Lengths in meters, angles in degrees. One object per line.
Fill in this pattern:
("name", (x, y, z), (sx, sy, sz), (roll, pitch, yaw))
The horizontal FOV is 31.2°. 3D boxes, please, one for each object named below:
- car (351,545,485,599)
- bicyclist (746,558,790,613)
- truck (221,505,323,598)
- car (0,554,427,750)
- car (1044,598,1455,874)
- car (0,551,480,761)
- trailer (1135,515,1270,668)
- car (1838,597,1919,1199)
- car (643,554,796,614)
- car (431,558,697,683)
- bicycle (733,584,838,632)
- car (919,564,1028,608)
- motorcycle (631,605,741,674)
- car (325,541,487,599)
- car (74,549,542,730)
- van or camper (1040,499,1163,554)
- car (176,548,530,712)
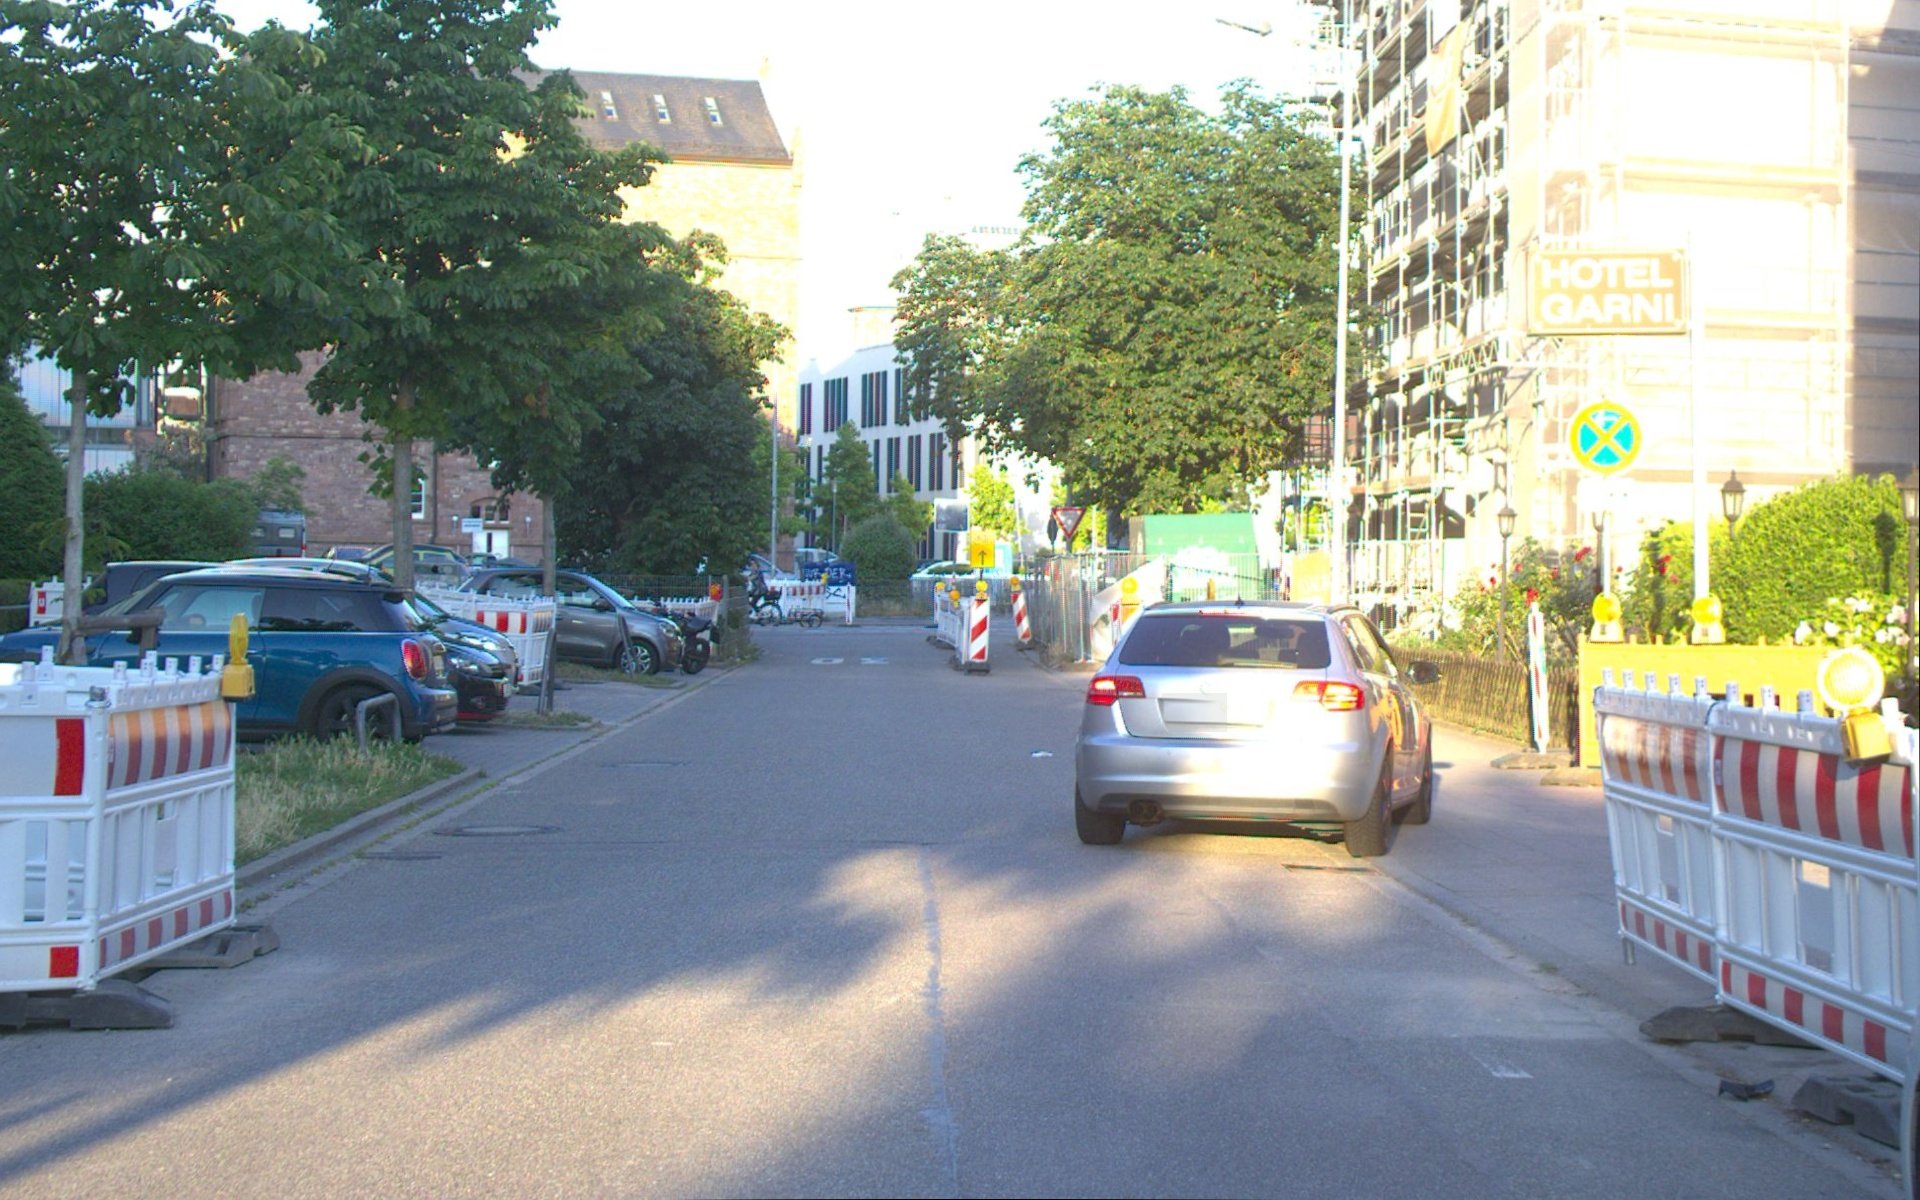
("car", (-15.810, -0.828, 100.267), (3.630, 1.498, 1.638), (1, 1, -17))
("bicyclist", (-5.113, -0.387, 91.530), (1.060, 1.453, 0.791), (1, 1, -8))
("truck", (-20.175, -1.441, 100.629), (2.333, 2.608, 4.974), (1, 1, -18))
("car", (-6.528, 0.424, 29.112), (3.677, 1.479, 1.728), (2, -1, 1))
("car", (1.822, 0.715, 20.377), (1.777, 1.392, 4.105), (1, 1, 14))
("car", (-5.730, 0.423, 26.708), (3.677, 1.440, 1.728), (2, -1, 1))
("trailer", (4.174, -0.175, 59.874), (1.993, 2.531, 4.186), (1, 1, 0))
("car", (2.682, 0.771, 4.936), (1.614, 1.464, 3.997), (1, 1, -3))
("car", (-7.204, -0.475, 102.941), (4.268, 1.703, 1.703), (1, 1, -19))
("car", (-5.747, 0.286, 50.181), (3.623, 1.551, 1.693), (4, 0, -1))
("bicycle", (-4.652, 0.214, 91.615), (2.723, 1.214, 0.711), (1, 1, -8))
("car", (0.504, -0.540, 130.491), (3.739, 1.597, 1.687), (0, 1, -22))
("motorcycle", (-4.259, 0.628, 53.671), (0.538, 1.017, 2.208), (4, 1, 28))
("car", (-16.512, -0.900, 102.391), (4.582, 1.632, 1.576), (1, 1, -17))
("car", (-6.048, 0.368, 32.168), (3.978, 1.484, 1.728), (2, -1, 1))
("van or camper", (6.086, -3.164, 147.718), (4.961, 2.233, 1.687), (1, 0, -22))
("car", (-6.400, 0.320, 36.538), (3.474, 1.561, 1.728), (2, -1, -4))
